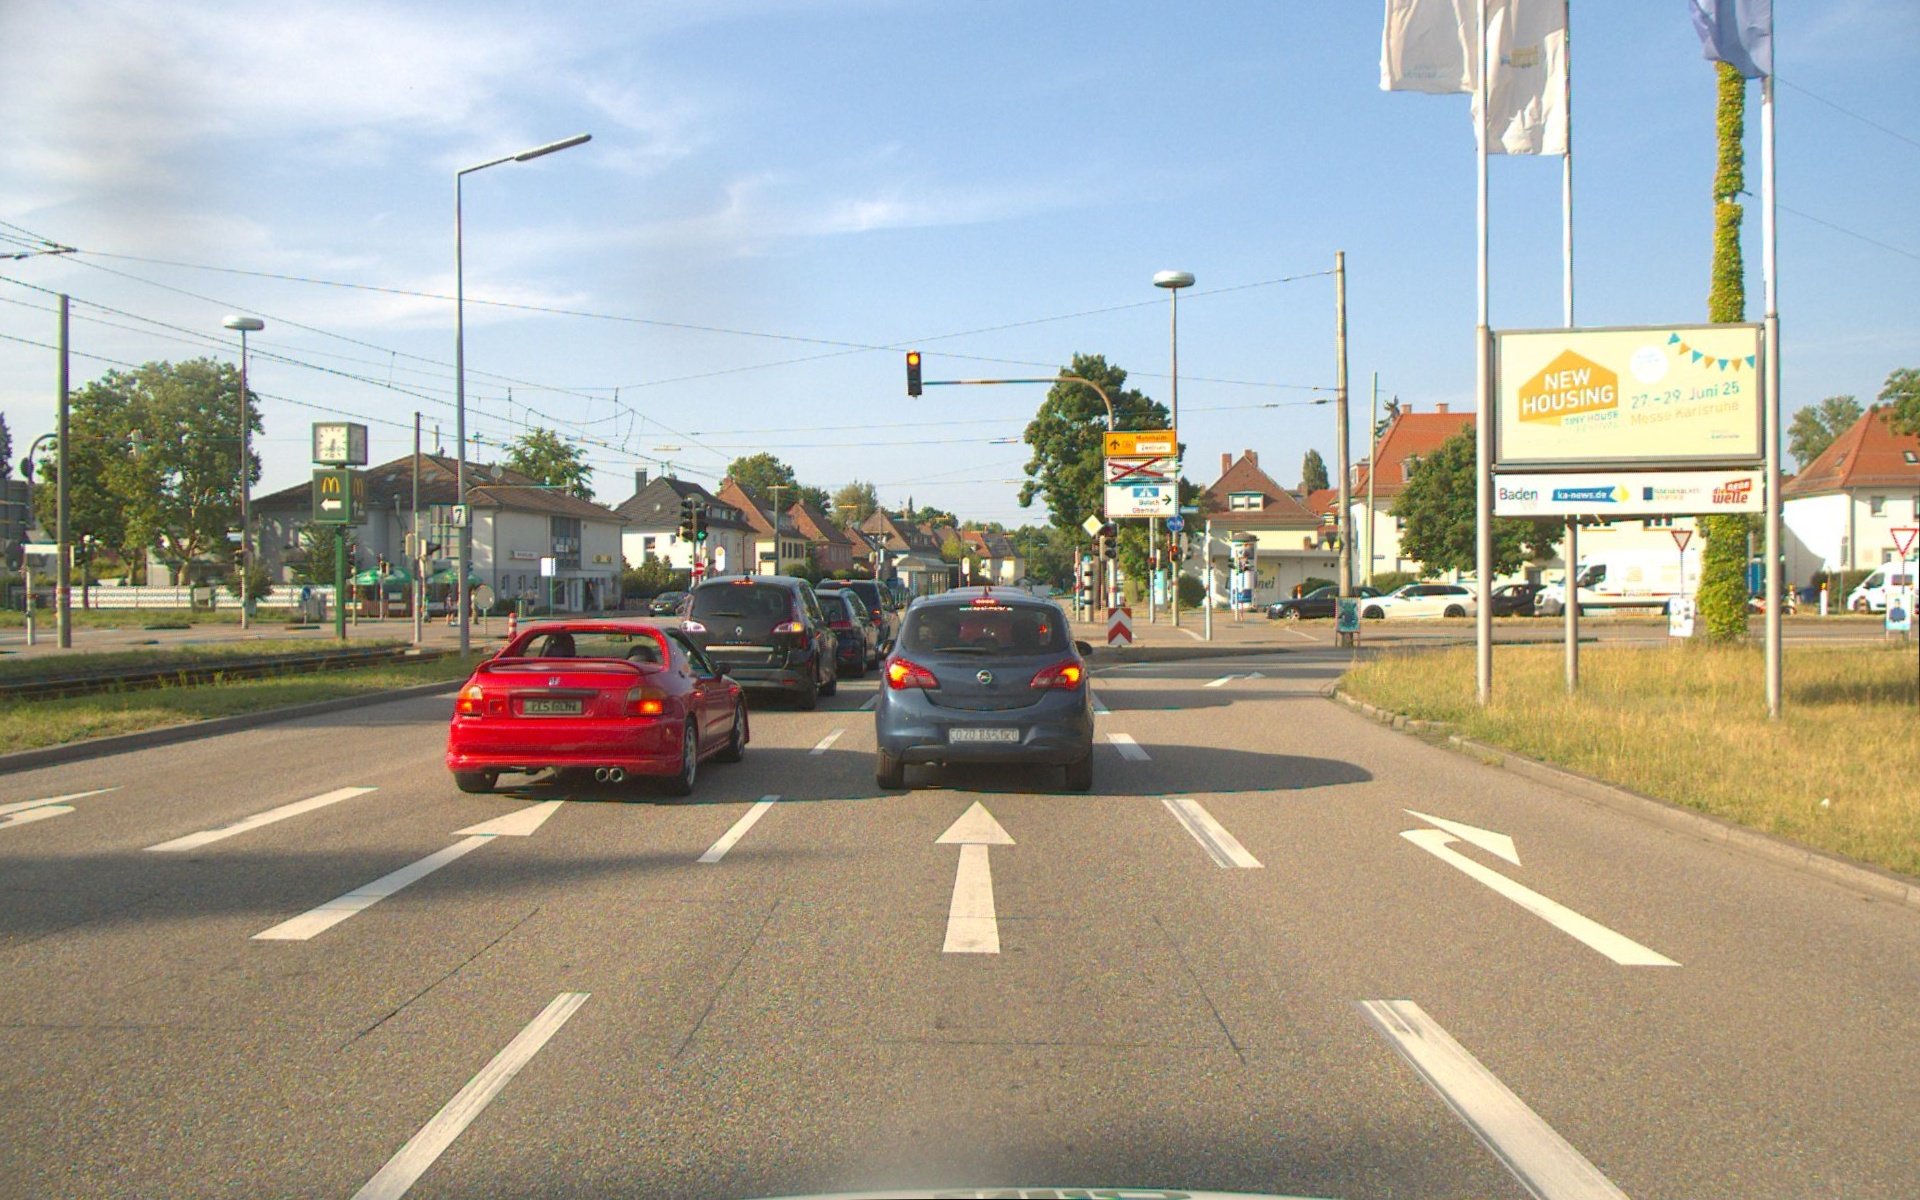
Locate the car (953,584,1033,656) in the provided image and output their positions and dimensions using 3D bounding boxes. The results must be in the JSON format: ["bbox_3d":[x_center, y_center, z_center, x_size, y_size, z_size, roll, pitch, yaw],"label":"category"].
[{"bbox_3d":[0.716,0.394,35.799,1.622,1.468,4.015,-1,0,1],"label":"car"}]

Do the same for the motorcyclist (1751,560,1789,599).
[{"bbox_3d":[29.006,-0.745,59.218,1.043,1.375,0.680,0,0,2],"label":"motorcyclist"}]

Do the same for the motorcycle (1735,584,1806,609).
[{"bbox_3d":[29.015,-0.134,59.223,2.224,0.882,0.691,0,0,2],"label":"motorcycle"}]

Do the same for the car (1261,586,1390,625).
[{"bbox_3d":[14.202,0.216,64.425,4.722,1.436,1.717,-1,0,4],"label":"car"}]

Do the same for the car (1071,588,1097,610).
[{"bbox_3d":[8.192,-0.036,109.351,1.639,1.422,4.002,1,0,4],"label":"car"}]

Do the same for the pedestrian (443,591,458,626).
[{"bbox_3d":[-24.002,0.409,77.884,0.501,1.627,0.540,0,0,3],"label":"pedestrian"}]

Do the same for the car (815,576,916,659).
[{"bbox_3d":[-1.998,0.348,36.237,1.474,1.680,4.747,-1,0,6],"label":"car"}]

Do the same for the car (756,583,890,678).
[{"bbox_3d":[-2.319,0.474,29.086,1.664,1.534,4.556,0,0,4],"label":"car"}]

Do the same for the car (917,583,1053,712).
[{"bbox_3d":[0.330,0.573,22.573,1.671,1.579,3.978,-1,0,1],"label":"car"}]

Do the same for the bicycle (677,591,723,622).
[{"bbox_3d":[-12.126,0.313,77.122,2.034,1.371,1.107,1,-1,-6],"label":"bicycle"}]

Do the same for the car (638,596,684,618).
[{"bbox_3d":[-18.766,0.454,103.865,1.628,1.369,4.080,-1,-1,9],"label":"car"}]

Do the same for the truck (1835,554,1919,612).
[{"bbox_3d":[43.181,-0.778,74.679,2.248,2.568,6.290,-1,1,-31],"label":"truck"}]

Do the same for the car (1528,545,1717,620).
[{"bbox_3d":[24.076,-0.626,60.282,6.078,2.629,2.001,0,0,3],"label":"car"}]

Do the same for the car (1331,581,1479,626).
[{"bbox_3d":[16.268,0.114,60.664,4.987,1.590,1.841,-1,0,4],"label":"car"}]

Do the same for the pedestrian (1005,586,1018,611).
[{"bbox_3d":[3.121,-0.087,99.745,0.737,1.525,0.827,1,-1,5],"label":"pedestrian"}]

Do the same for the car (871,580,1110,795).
[{"bbox_3d":[0.195,0.608,14.072,1.706,1.532,4.222,1,1,-1],"label":"car"}]

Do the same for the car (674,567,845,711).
[{"bbox_3d":[-2.524,0.445,21.696,1.727,1.700,4.084,0,0,0],"label":"car"}]

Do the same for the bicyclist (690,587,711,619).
[{"bbox_3d":[-12.077,0.156,77.120,0.867,1.456,1.135,1,-1,-6],"label":"bicyclist"}]

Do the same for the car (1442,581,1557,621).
[{"bbox_3d":[20.821,0.029,63.950,3.903,1.478,1.717,-1,0,4],"label":"car"}]

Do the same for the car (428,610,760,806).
[{"bbox_3d":[-2.707,0.742,13.103,1.695,1.227,3.847,1,0,1],"label":"car"}]
